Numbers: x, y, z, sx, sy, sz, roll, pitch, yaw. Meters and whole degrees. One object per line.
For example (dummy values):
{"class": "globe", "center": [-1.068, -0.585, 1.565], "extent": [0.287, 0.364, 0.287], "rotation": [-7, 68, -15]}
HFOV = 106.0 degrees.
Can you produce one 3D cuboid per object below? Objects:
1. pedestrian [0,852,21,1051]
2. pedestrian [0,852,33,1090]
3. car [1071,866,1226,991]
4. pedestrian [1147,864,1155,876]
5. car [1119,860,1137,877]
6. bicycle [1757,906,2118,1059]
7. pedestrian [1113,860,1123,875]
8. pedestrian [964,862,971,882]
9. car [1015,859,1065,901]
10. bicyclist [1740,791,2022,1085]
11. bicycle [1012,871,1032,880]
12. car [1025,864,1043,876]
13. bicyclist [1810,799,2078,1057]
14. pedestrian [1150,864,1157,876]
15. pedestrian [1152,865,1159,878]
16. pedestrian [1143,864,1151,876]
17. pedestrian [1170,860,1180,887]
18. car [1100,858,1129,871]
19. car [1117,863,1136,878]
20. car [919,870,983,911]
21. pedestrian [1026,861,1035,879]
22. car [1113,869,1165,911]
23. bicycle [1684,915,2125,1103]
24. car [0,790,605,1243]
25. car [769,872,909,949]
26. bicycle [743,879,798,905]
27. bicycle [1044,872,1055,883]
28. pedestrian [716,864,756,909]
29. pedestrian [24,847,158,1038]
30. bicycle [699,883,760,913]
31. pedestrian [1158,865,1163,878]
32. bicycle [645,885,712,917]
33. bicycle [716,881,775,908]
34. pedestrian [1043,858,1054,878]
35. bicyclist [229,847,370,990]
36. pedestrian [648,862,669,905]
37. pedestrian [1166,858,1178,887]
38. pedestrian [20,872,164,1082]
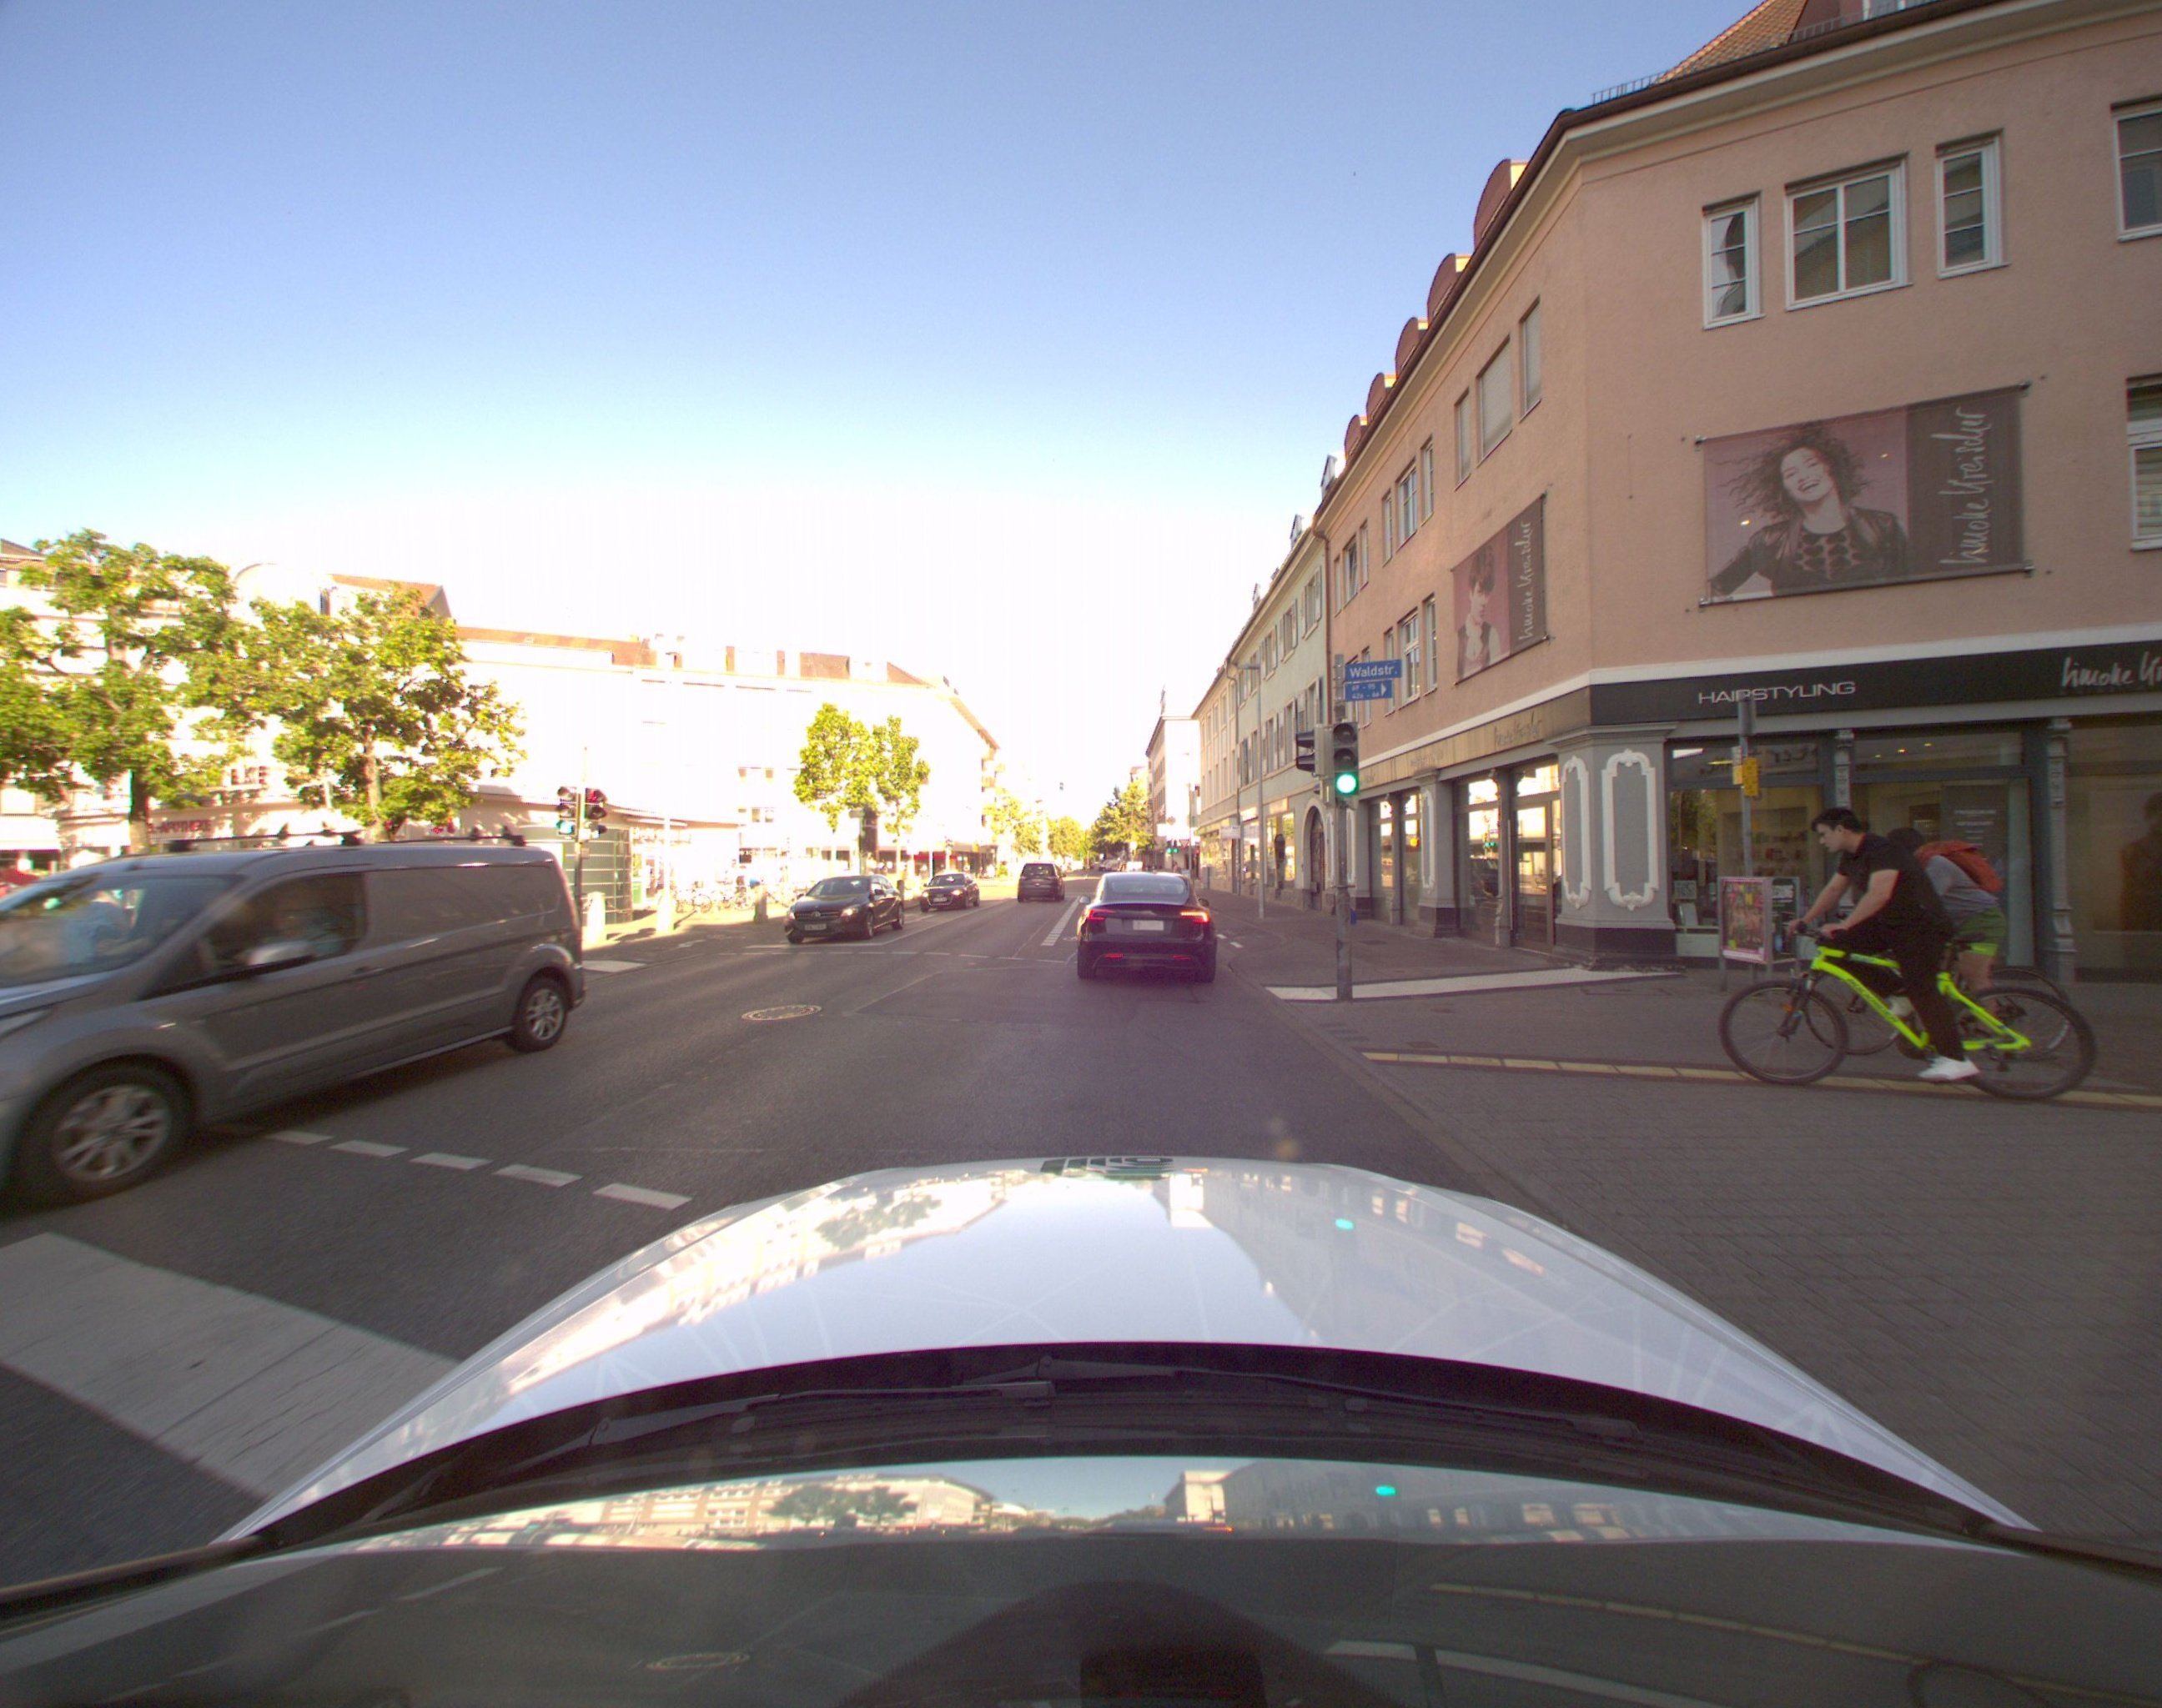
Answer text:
{"class": "pedestrian", "center": [-10.188, 0.889, 7.366], "extent": [0.592, 1.812, 0.774], "rotation": [0, -1, -43]}
{"class": "pedestrian", "center": [-8.788, 0.913, 6.382], "extent": [0.643, 1.857, 0.629], "rotation": [-1, -1, 33]}
{"class": "car", "center": [0.896, 0.943, 12.090], "extent": [1.862, 1.427, 4.366], "rotation": [-1, 0, 2]}
{"class": "pedestrian", "center": [8.027, 1.878, 93.244], "extent": [0.728, 1.347, 1.059], "rotation": [-1, -1, -1]}
{"class": "car", "center": [5.501, 1.695, 95.885], "extent": [1.897, 1.852, 4.289], "rotation": [0, -1, 1]}
{"class": "bicycle", "center": [6.304, 0.909, 6.115], "extent": [1.801, 0.994, 0.567], "rotation": [-1, -1, 19]}
{"class": "pedestrian", "center": [4.784, 1.718, 105.935], "extent": [0.950, 1.915, 1.110], "rotation": [-1, -1, 17]}
{"class": "pedestrian", "center": [-10.223, 1.626, 73.266], "extent": [0.557, 1.709, 0.712], "rotation": [-1, -1, -2]}
{"class": "car", "center": [-1.743, 1.112, 36.062], "extent": [1.897, 1.733, 4.289], "rotation": [0, -1, 1]}
{"class": "bicyclist", "center": [5.075, 0.490, 5.271], "extent": [1.118, 1.685, 0.730], "rotation": [-1, -1, 29]}
{"class": "bicycle", "center": [-6.701, 2.443, 92.972], "extent": [2.221, 0.958, 0.653], "rotation": [-1, -1, -12]}
{"class": "car", "center": [-6.468, 2.206, 112.768], "extent": [1.985, 1.598, 4.003], "rotation": [0, -1, 3]}
{"class": "bicyclist", "center": [6.369, 0.513, 6.096], "extent": [1.128, 1.761, 0.757], "rotation": [-1, -1, 18]}
{"class": "pedestrian", "center": [8.435, 1.881, 94.509], "extent": [0.728, 1.360, 0.959], "rotation": [-1, -1, 1]}
{"class": "pedestrian", "center": [7.650, 1.784, 83.750], "extent": [0.584, 1.313, 0.560], "rotation": [-1, -1, 1]}
{"class": "pedestrian", "center": [7.651, 1.894, 94.358], "extent": [0.707, 1.347, 1.059], "rotation": [-1, -1, -2]}
{"class": "pedestrian", "center": [6.077, 1.237, 52.479], "extent": [0.570, 1.759, 0.649], "rotation": [0, -1, 1]}
{"class": "car", "center": [6.176, 1.941, 151.244], "extent": [5.374, 2.146, 1.999], "rotation": [-1, -1, 0]}
{"class": "car", "center": [4.948, 1.788, 89.460], "extent": [1.993, 1.636, 4.289], "rotation": [0, -1, 1]}
{"class": "car", "center": [-4.961, 1.361, 31.609], "extent": [1.644, 1.397, 4.045], "rotation": [-2, -1, 2]}
{"class": "pedestrian", "center": [-4.846, 1.496, 78.431], "extent": [0.791, 1.712, 0.651], "rotation": [0, -1, -14]}
{"class": "car", "center": [2.059, 1.245, 29.505], "extent": [1.754, 1.419, 4.357], "rotation": [0, -1, 3]}
{"class": "bicycle", "center": [5.146, 0.923, 5.281], "extent": [1.891, 1.020, 0.564], "rotation": [-2, -2, 29]}
{"class": "car", "center": [-5.645, 0.770, 5.434], "extent": [1.987, 1.947, 4.783], "rotation": [-3, -1, 1]}
{"class": "car", "center": [-5.405, 1.198, 18.798], "extent": [1.742, 1.423, 4.256], "rotation": [-4, -1, 2]}
{"class": "bicycle", "center": [-12.907, 1.575, 33.912], "extent": [1.980, 1.088, 0.754], "rotation": [0, -1, 2]}
{"class": "bicycle", "center": [-3.099, 2.247, 79.477], "extent": [0.758, 1.008, 1.719], "rotation": [-4, 0, -10]}
{"class": "pedestrian", "center": [-13.102, 1.213, 30.947], "extent": [1.074, 1.698, 0.906], "rotation": [0, -1, 15]}
{"class": "pedestrian", "center": [-9.989, 0.848, 8.251], "extent": [0.788, 1.812, 0.582], "rotation": [0, -1, -45]}
{"class": "bicycle", "center": [-12.630, 1.571, 29.265], "extent": [1.873, 1.002, 0.767], "rotation": [0, -1, 9]}
{"class": "pedestrian", "center": [8.220, 1.784, 84.523], "extent": [0.485, 1.322, 0.655], "rotation": [-1, -1, 8]}
{"class": "bicycle", "center": [-13.186, 1.540, 26.702], "extent": [1.873, 1.002, 0.767], "rotation": [0, -1, 9]}
{"class": "bicycle", "center": [-13.012, 1.578, 31.618], "extent": [1.997, 1.002, 0.892], "rotation": [-1, -1, 15]}
{"class": "pedestrian", "center": [-3.174, 1.345, 79.508], "extent": [0.779, 1.866, 0.997], "rotation": [-3, 0, -13]}
{"class": "bicyclist", "center": [-9.615, 0.752, 10.044], "extent": [0.796, 1.648, 0.999], "rotation": [0, -1, 23]}
{"class": "pedestrian", "center": [-17.084, 1.179, 32.920], "extent": [0.517, 1.709, 0.611], "rotation": [-1, -1, 1]}
{"class": "pedestrian", "center": [5.926, 1.209, 53.026], "extent": [0.637, 1.842, 0.681], "rotation": [-1, -1, 1]}
{"class": "pedestrian", "center": [-8.539, 1.001, 7.040], "extent": [0.679, 1.673, 0.702], "rotation": [-1, -1, 33]}
